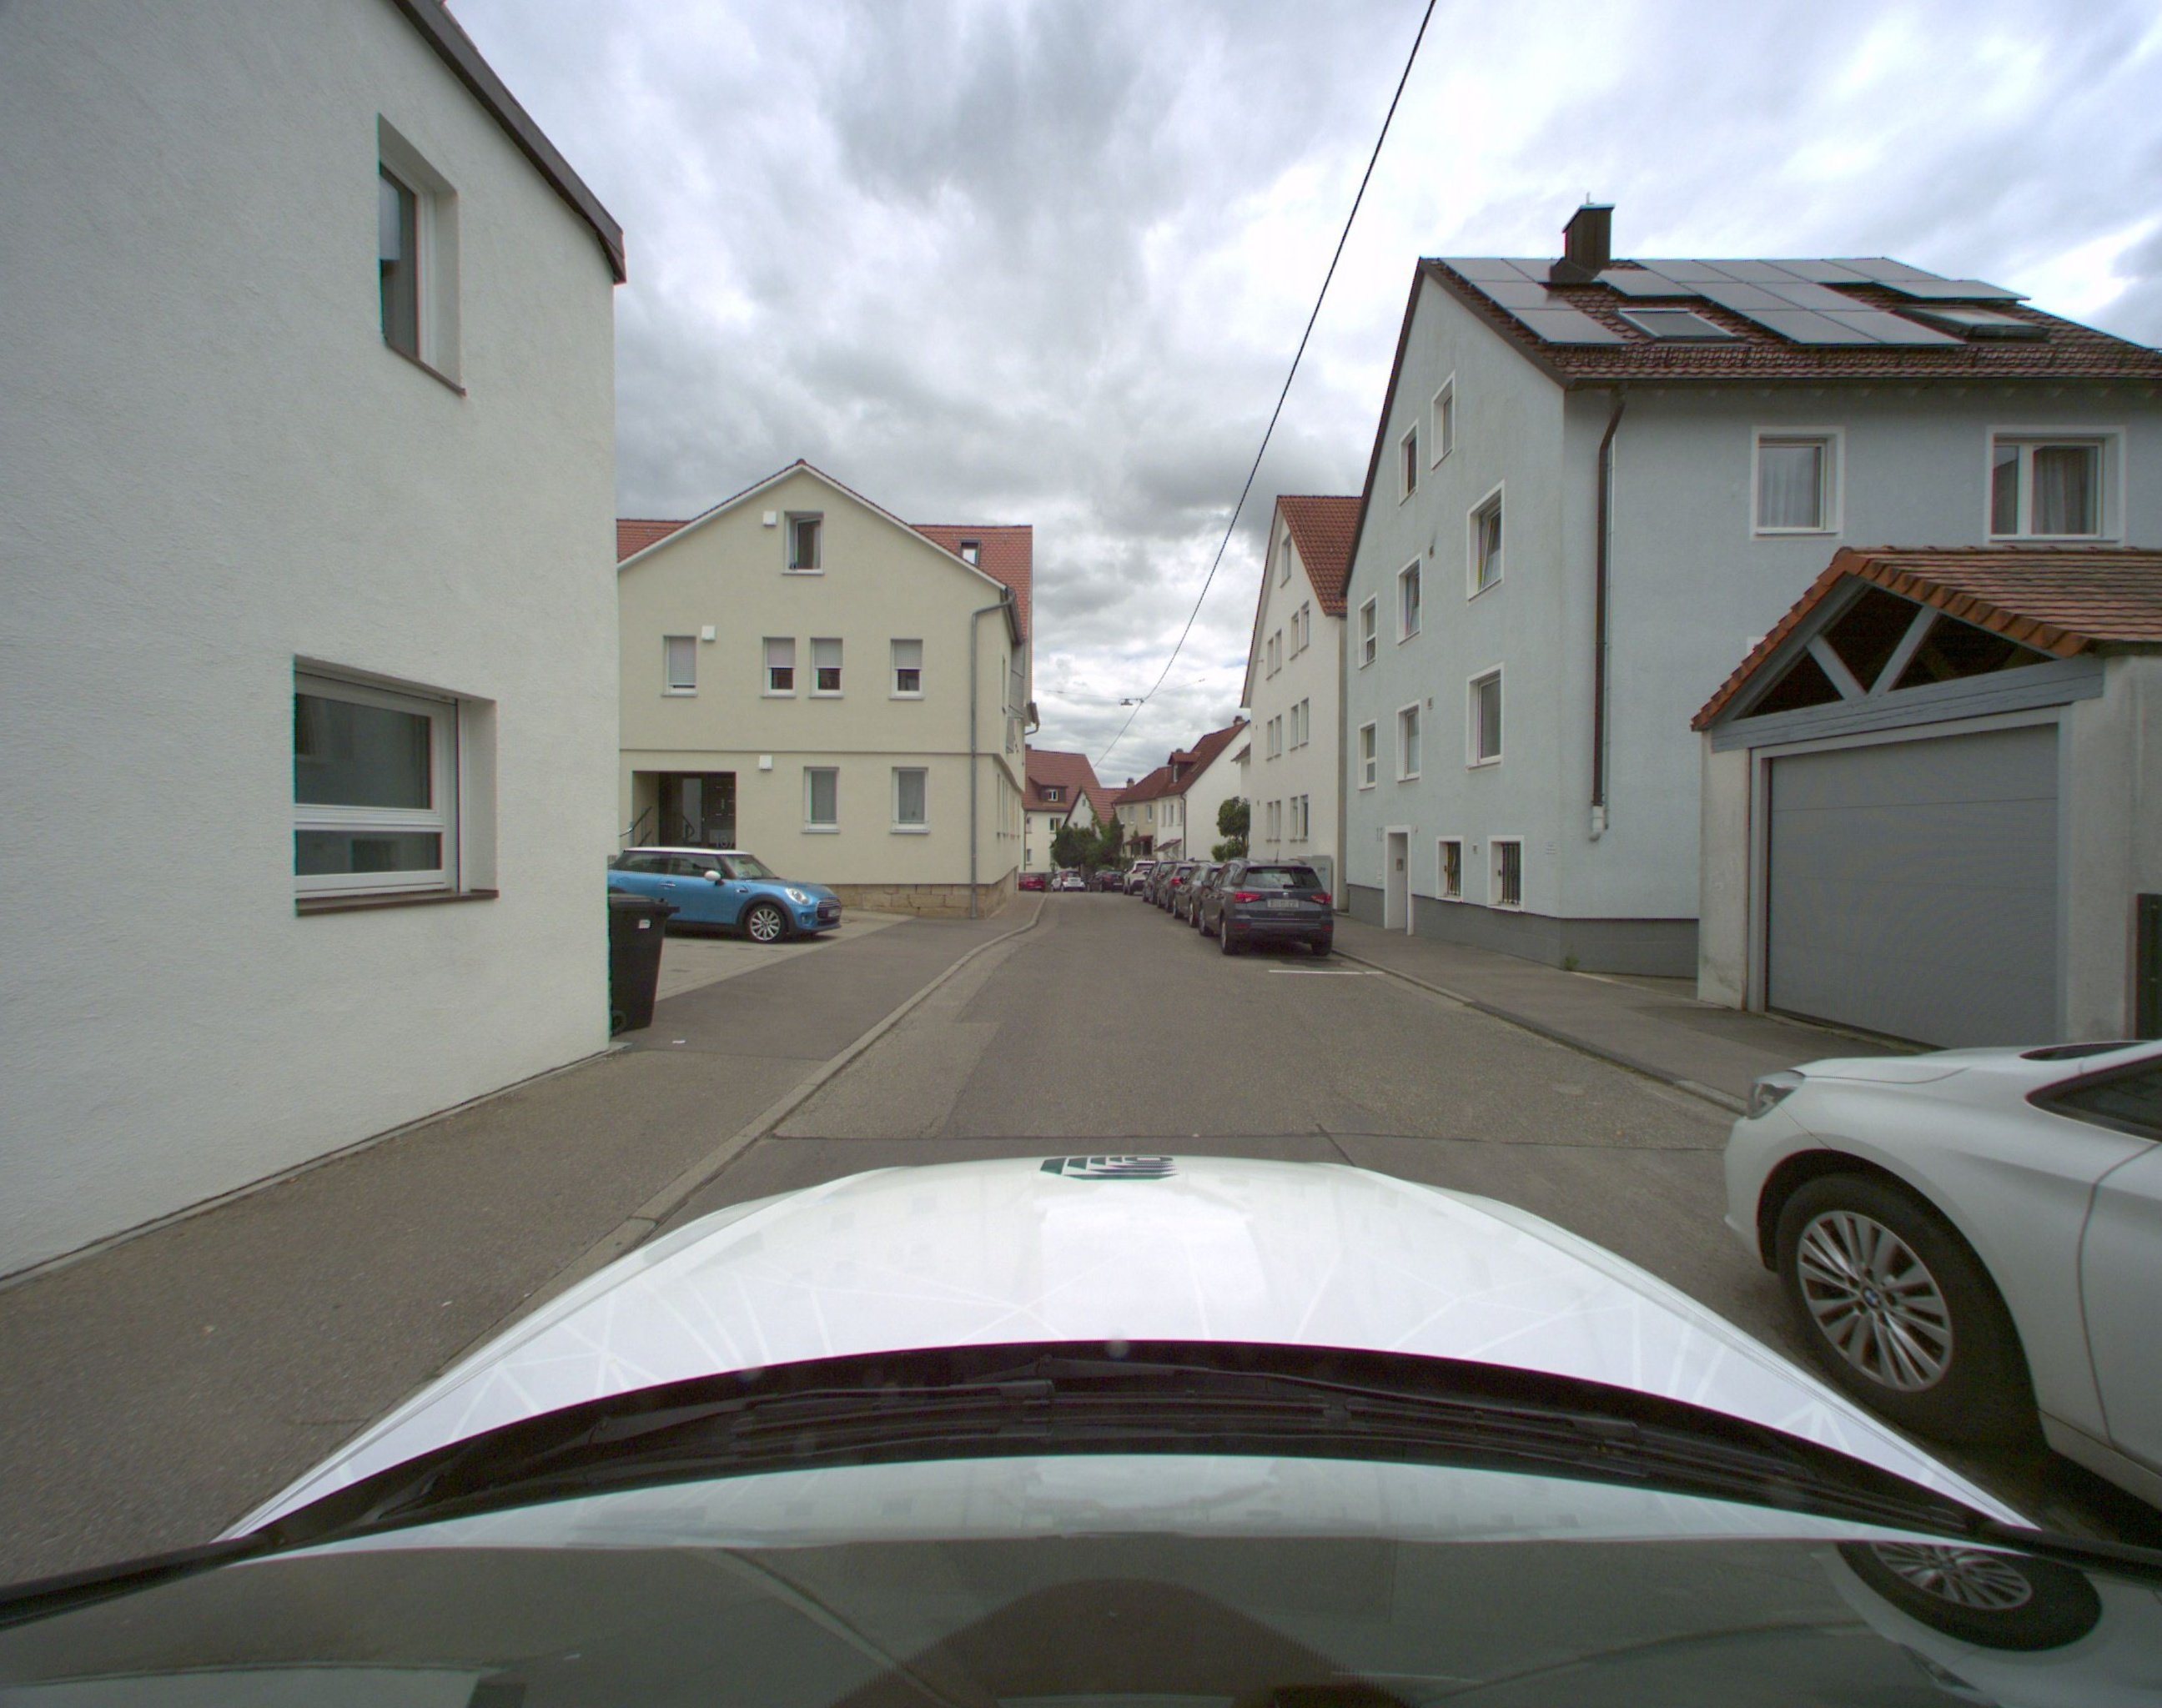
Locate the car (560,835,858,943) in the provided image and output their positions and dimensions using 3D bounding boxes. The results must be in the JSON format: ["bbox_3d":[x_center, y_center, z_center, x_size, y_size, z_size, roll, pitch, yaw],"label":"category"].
[{"bbox_3d":[-5.838,0.539,13.163,3.713,1.412,2.123,3,-1,5],"label":"car"}]

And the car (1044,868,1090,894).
[{"bbox_3d":[-1.064,1.905,59.259,1.972,1.713,3.968,1,0,-25],"label":"car"}]

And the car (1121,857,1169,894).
[{"bbox_3d":[3.049,1.056,39.738,1.868,1.713,4.143,0,-1,-2],"label":"car"}]

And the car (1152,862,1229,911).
[{"bbox_3d":[3.187,0.939,24.387,1.791,1.352,4.074,0,-1,0],"label":"car"}]

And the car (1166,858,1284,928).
[{"bbox_3d":[3.193,0.818,19.046,1.912,1.410,4.654,-1,-1,0],"label":"car"}]

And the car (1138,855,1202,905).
[{"bbox_3d":[3.155,0.921,29.606,1.731,1.610,3.997,3,-1,-1],"label":"car"}]

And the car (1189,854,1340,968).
[{"bbox_3d":[3.013,0.846,14.320,1.747,1.628,4.537,2,0,2],"label":"car"}]

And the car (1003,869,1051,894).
[{"bbox_3d":[-4.328,2.200,64.713,2.009,1.683,3.957,-6,0,-34],"label":"car"}]

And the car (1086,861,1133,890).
[{"bbox_3d":[1.722,1.358,50.381,1.995,1.713,3.983,0,-3,-11],"label":"car"}]

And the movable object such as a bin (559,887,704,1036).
[{"bbox_3d":[-3.619,0.826,6.598,0.609,1.076,0.756,3,0,22],"label":"movable object such as a bin"}]

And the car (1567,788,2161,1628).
[{"bbox_3d":[3.073,0.707,1.146,1.986,1.615,4.881,2,0,2],"label":"car"}]
